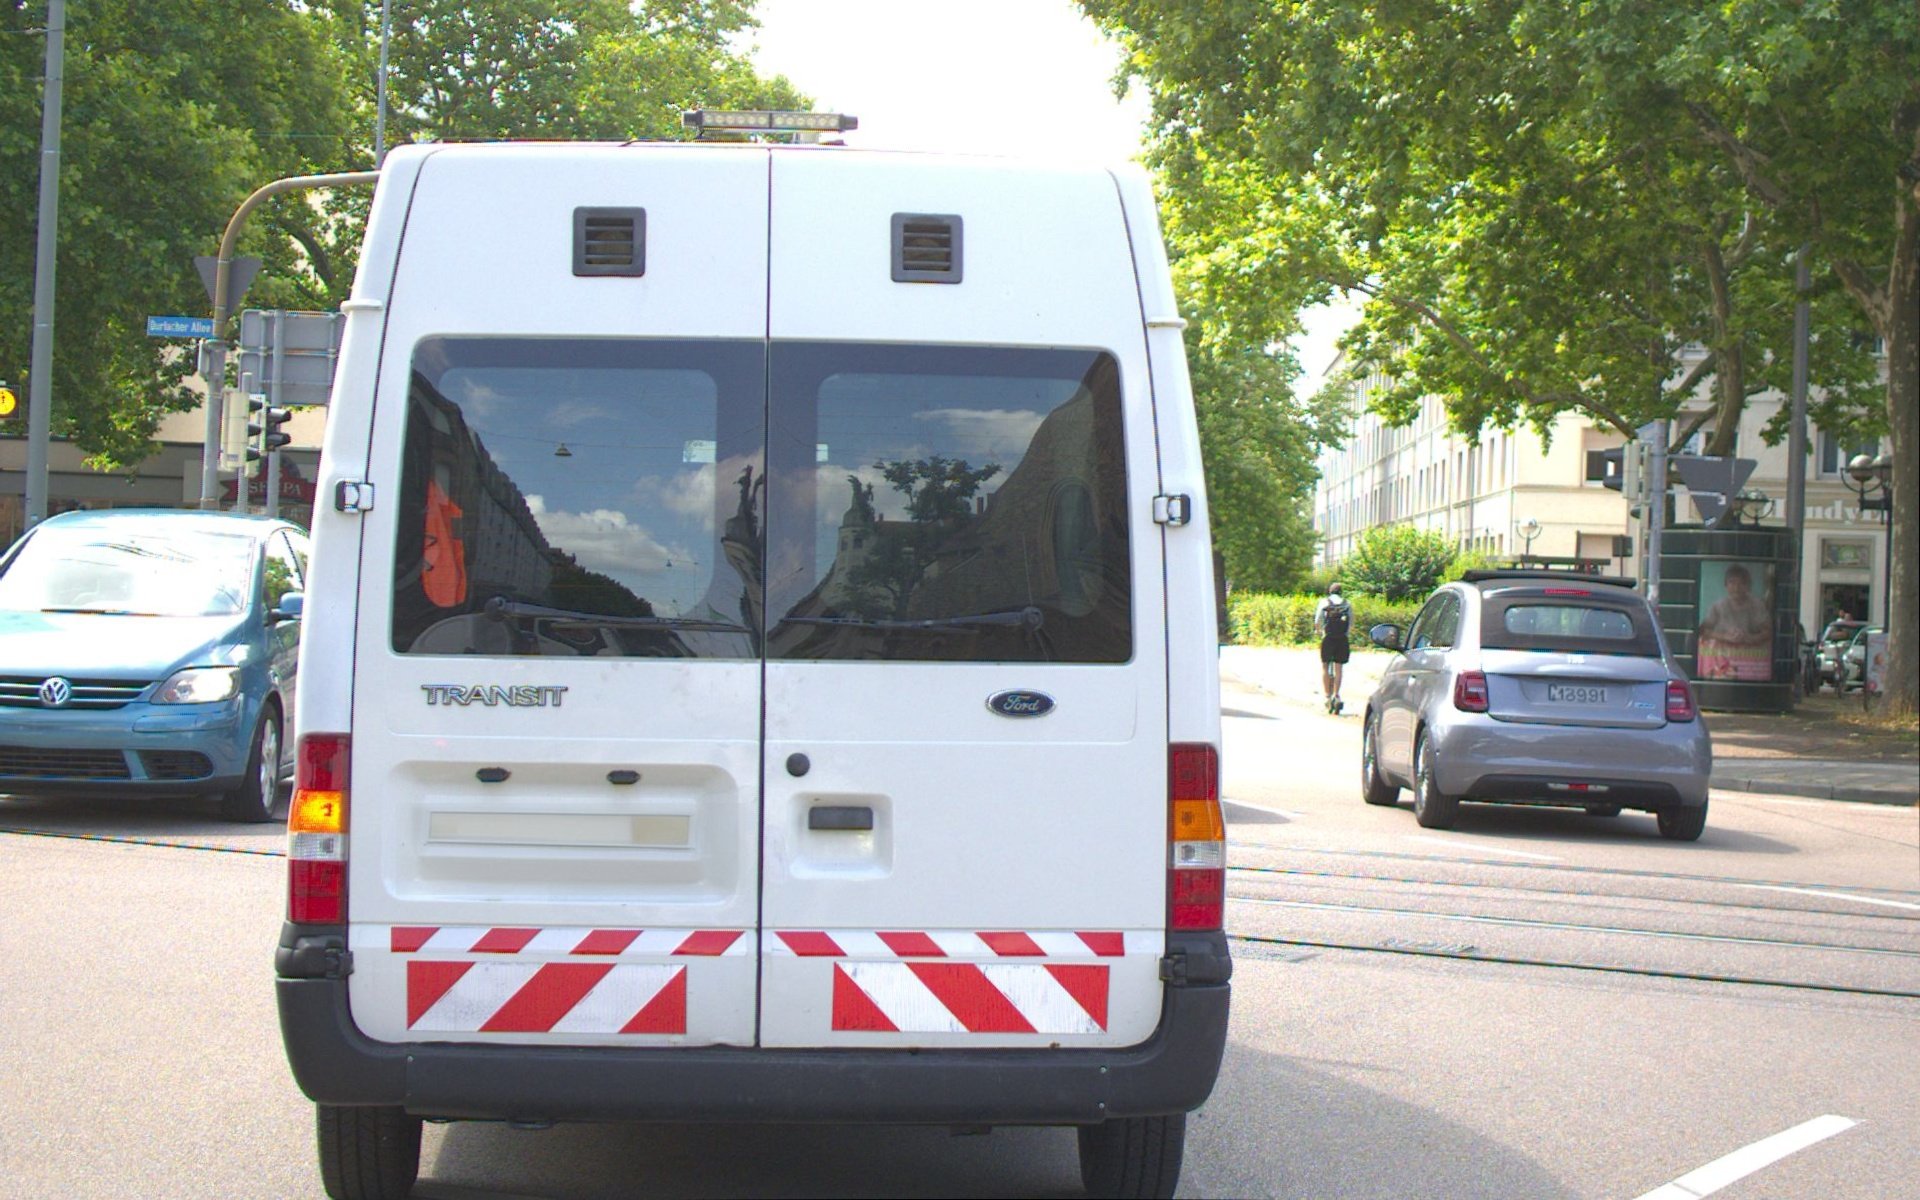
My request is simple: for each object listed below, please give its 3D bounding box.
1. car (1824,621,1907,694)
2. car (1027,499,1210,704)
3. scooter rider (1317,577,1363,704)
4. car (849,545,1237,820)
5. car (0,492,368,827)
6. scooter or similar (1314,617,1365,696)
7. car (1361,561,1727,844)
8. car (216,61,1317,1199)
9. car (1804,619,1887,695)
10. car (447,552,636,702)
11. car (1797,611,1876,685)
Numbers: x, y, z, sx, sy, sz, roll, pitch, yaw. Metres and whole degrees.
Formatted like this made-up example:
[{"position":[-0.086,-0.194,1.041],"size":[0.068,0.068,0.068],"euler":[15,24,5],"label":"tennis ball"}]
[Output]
[{"position":[18.564,1.168,70.394],"size":[1.466,1.384,3.233],"euler":[3,0,17],"label":"car"},{"position":[2.158,-0.020,48.574],"size":[2.119,2.632,6.328],"euler":[2,1,-1],"label":"car"},{"position":[5.539,0.586,50.153],"size":[0.526,1.806,0.649],"euler":[2,0,-1],"label":"scooter rider"},{"position":[0.413,0.439,21.562],"size":[1.814,1.501,4.132],"euler":[2,1,-7],"label":"car"},{"position":[-4.260,0.248,18.069],"size":[1.747,1.535,3.932],"euler":[2,1,-3],"label":"car"},{"position":[5.528,0.818,50.159],"size":[0.549,1.088,1.292],"euler":[2,1,-1],"label":"scooter or similar"},{"position":[3.539,0.568,21.383],"size":[1.692,1.532,3.468],"euler":[2,1,1],"label":"car"},{"position":[-0.518,0.123,9.002],"size":[2.047,2.325,4.715],"euler":[2,1,-4],"label":"car"},{"position":[17.222,1.092,66.829],"size":[1.466,1.384,3.065],"euler":[3,0,15],"label":"car"},{"position":[-4.285,0.241,35.602],"size":[1.713,1.428,3.819],"euler":[1,1,-4],"label":"car"},{"position":[20.899,1.132,81.896],"size":[1.467,1.660,3.064],"euler":[3,0,20],"label":"car"}]
